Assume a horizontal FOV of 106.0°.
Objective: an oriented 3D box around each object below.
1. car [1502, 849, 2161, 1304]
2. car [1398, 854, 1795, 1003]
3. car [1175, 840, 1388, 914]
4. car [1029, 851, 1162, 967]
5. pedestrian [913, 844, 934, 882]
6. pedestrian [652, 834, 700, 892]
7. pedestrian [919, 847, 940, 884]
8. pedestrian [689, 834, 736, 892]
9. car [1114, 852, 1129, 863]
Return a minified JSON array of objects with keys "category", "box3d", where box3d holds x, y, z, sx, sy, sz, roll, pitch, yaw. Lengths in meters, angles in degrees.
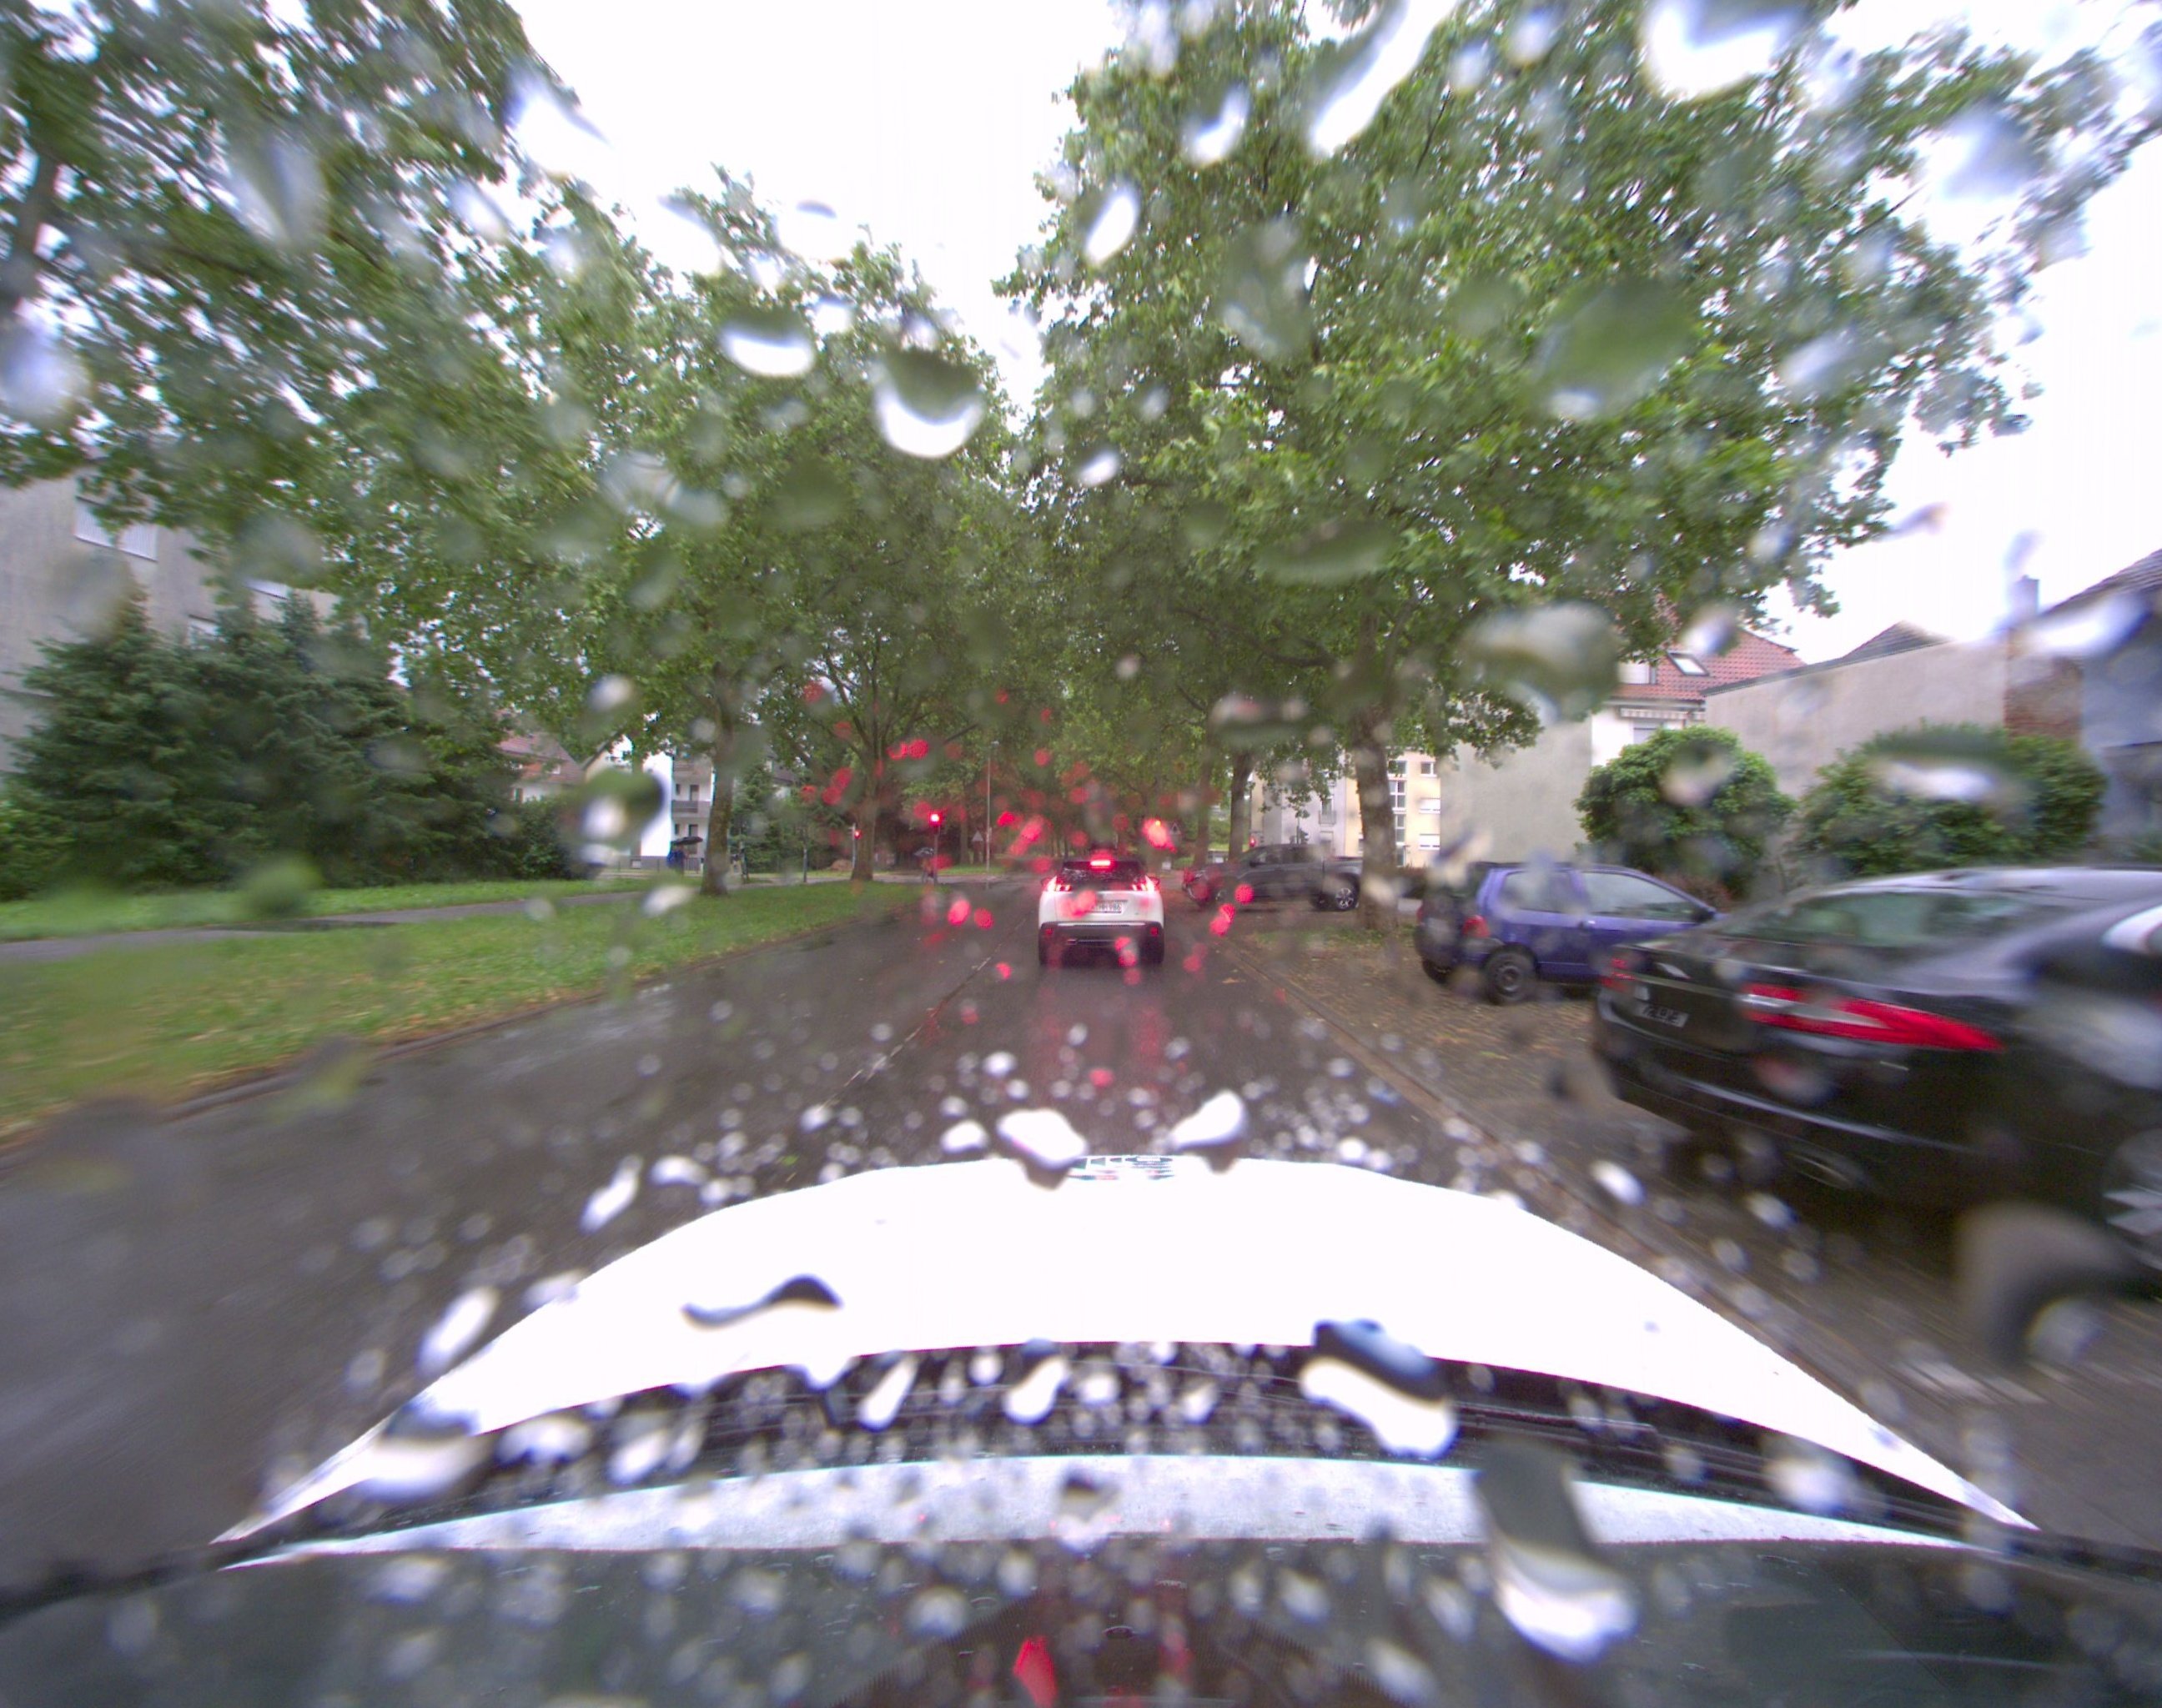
[{"category":"car","box3d":[4.807,0.722,3.800,4.755,1.473,1.935,0,0,-4]},{"category":"car","box3d":[5.427,0.738,8.882,3.344,1.464,1.619,0,0,0]},{"category":"car","box3d":[5.384,0.586,22.227,5.330,1.806,1.842,-1,0,-6]},{"category":"car","box3d":[0.254,0.731,12.925,1.773,1.536,4.059,0,0,2]},{"category":"pedestrian","box3d":[-7.186,0.407,37.231,0.818,1.744,0.639,1,0,-1]},{"category":"pedestrian","box3d":[-12.559,0.279,25.294,1.029,1.765,0.879,0,0,1]},{"category":"pedestrian","box3d":[-7.120,0.532,38.191,0.856,1.744,0.639,1,0,-1]},{"category":"pedestrian","box3d":[-11.403,0.258,25.229,1.029,1.765,0.838,0,0,1]},{"category":"car","box3d":[5.901,0.521,118.054,1.900,1.510,3.928,0,0,-2]}]
